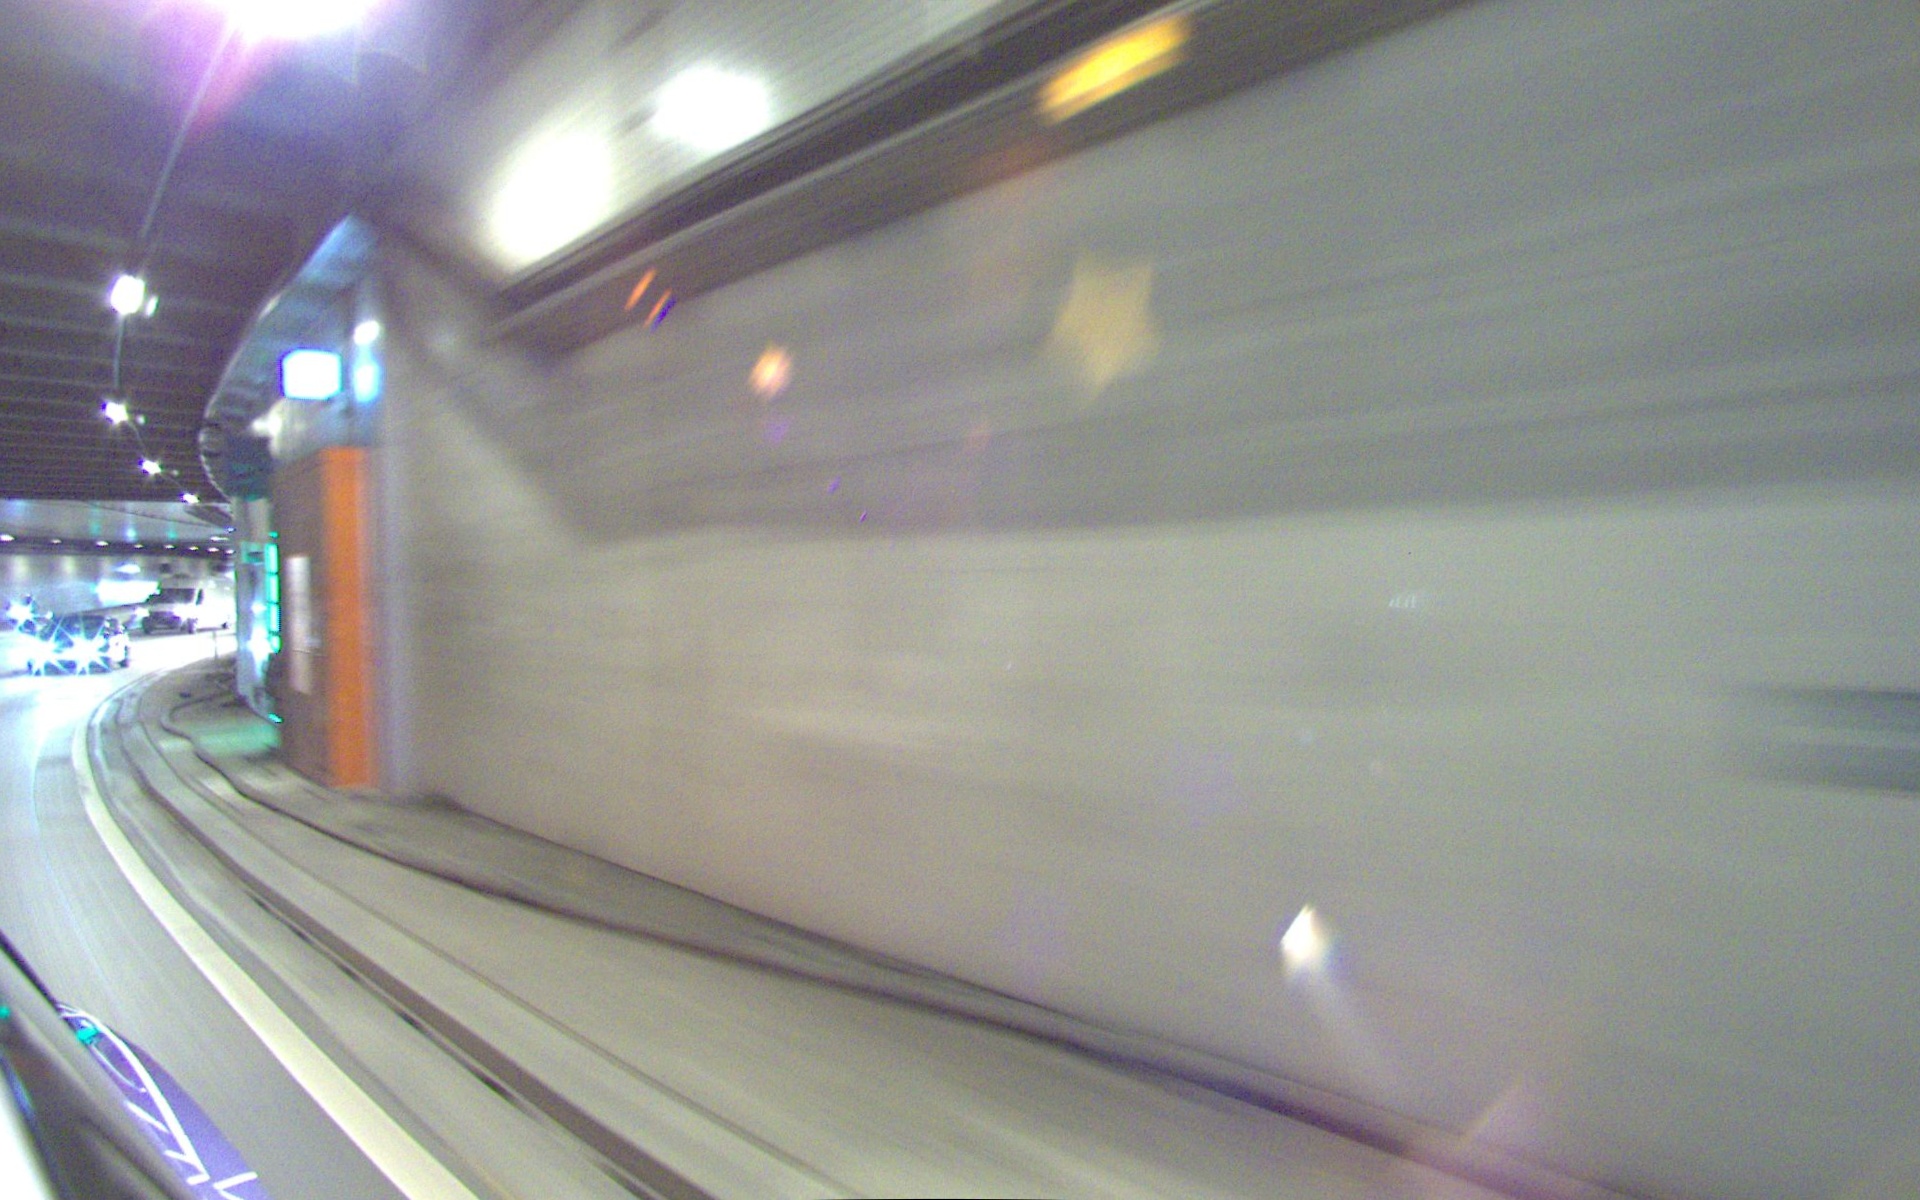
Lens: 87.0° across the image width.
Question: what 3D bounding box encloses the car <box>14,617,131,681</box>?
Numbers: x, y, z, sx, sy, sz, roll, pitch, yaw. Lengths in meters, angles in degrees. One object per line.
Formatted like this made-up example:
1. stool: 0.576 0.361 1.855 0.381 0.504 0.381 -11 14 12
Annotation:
1. car: -23.307 1.226 26.709 1.694 1.475 4.011 -1 0 -32

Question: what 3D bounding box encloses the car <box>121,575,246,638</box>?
1. car: -37.335 0.272 48.970 2.518 2.789 7.374 -1 0 -19

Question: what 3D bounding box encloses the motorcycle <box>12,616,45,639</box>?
1. motorcycle: -43.127 1.269 46.878 0.540 0.983 1.841 -3 2 -25

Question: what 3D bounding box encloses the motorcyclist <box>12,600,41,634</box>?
1. motorcyclist: -43.118 0.759 46.759 0.734 1.502 0.790 -3 2 -25
